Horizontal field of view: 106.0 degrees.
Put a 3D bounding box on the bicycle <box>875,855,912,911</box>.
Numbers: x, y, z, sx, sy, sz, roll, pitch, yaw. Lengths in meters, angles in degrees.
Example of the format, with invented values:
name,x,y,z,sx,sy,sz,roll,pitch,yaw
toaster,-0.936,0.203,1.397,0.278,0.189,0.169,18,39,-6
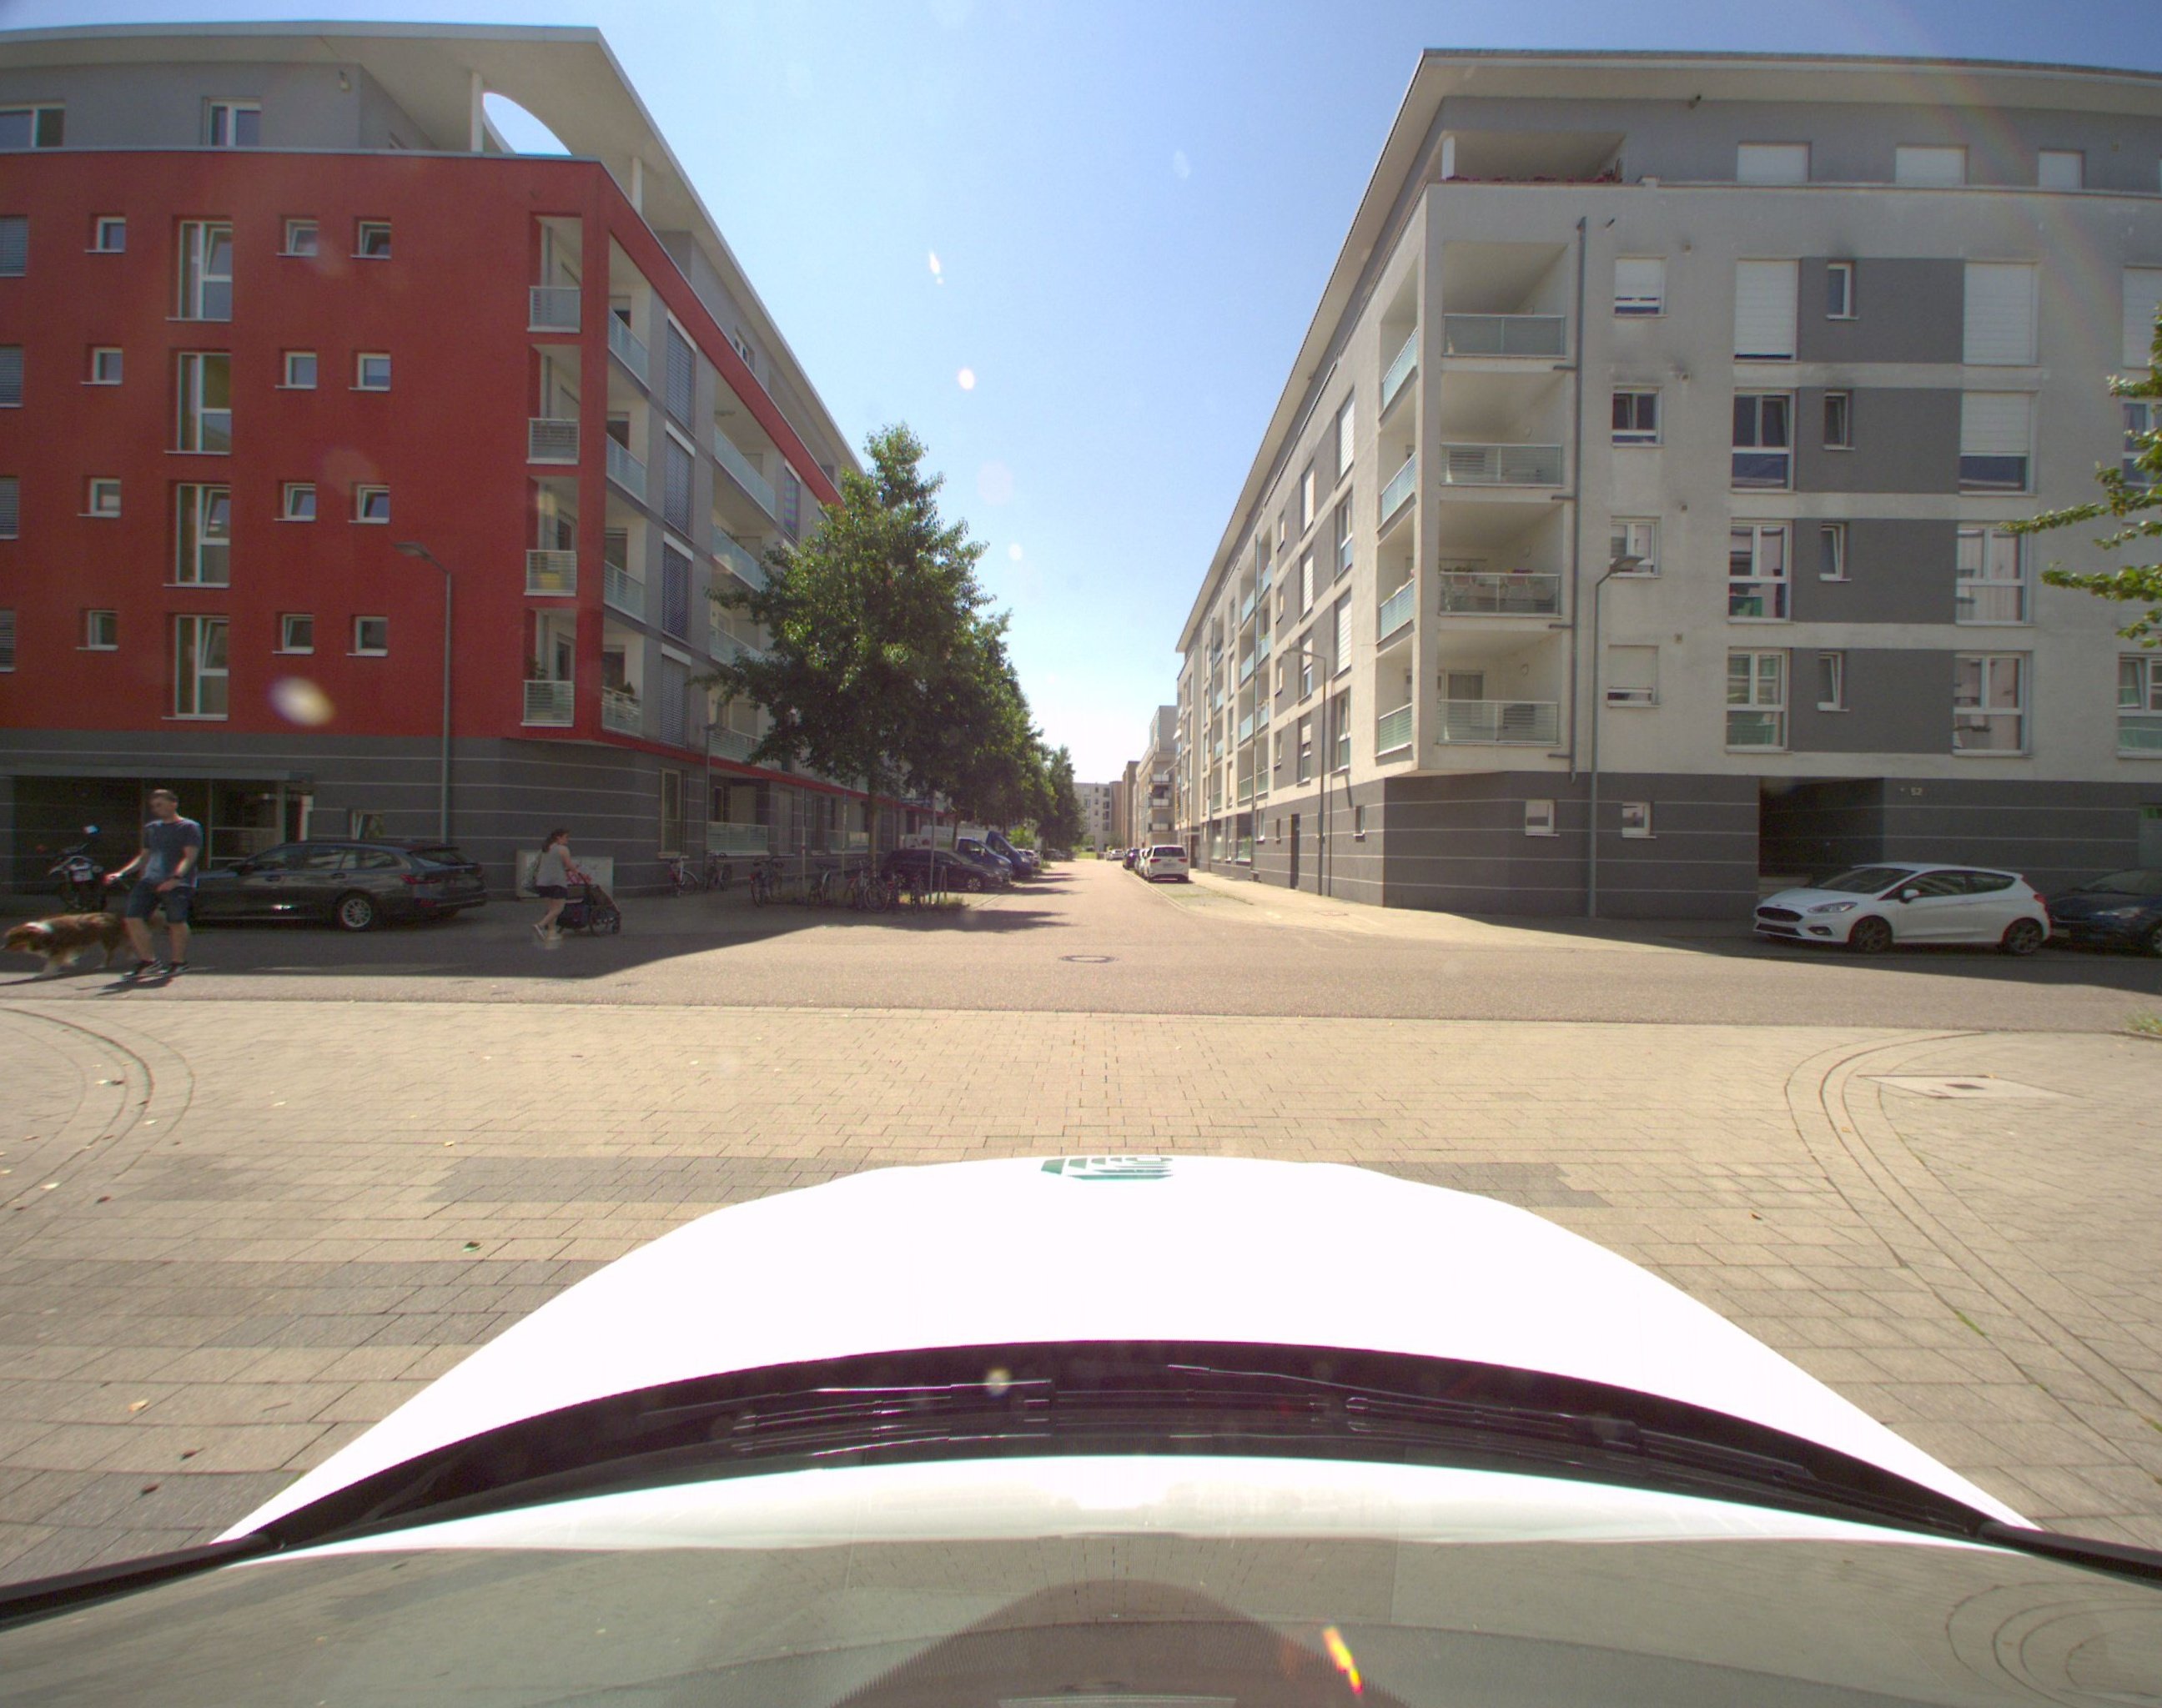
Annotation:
name,x,y,z,sx,sy,sz,roll,pitch,yaw
bicycle,-4.381,0.651,19.124,0.569,1.174,1.765,3,2,-6

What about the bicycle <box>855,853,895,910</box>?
name,x,y,z,sx,sy,sz,roll,pitch,yaw
bicycle,-4.813,0.616,19.132,0.432,1.204,1.700,2,2,2

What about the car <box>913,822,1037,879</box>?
name,x,y,z,sx,sy,sz,roll,pitch,yaw
car,-5.362,-0.179,41.866,6.003,2.816,2.605,0,0,0

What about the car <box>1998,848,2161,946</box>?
name,x,y,z,sx,sy,sz,roll,pitch,yaw
car,18.460,0.698,13.847,3.778,1.557,1.727,1,0,0

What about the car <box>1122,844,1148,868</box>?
name,x,y,z,sx,sy,sz,roll,pitch,yaw
car,3.771,0.138,56.514,1.749,1.552,4.005,1,1,4

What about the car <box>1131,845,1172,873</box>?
name,x,y,z,sx,sy,sz,roll,pitch,yaw
car,4.007,0.241,46.931,1.987,1.524,3.999,0,1,0

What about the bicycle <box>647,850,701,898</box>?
name,x,y,z,sx,sy,sz,roll,pitch,yaw
bicycle,-10.166,0.473,20.409,0.607,1.107,2.099,1,0,-10

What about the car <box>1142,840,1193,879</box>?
name,x,y,z,sx,sy,sz,roll,pitch,yaw
car,3.801,0.223,36.401,1.990,1.657,4.116,0,0,1

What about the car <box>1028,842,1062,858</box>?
name,x,y,z,sx,sy,sz,roll,pitch,yaw
car,-4.432,-0.509,100.710,3.965,2.013,2.004,1,0,7

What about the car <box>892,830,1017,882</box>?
name,x,y,z,sx,sy,sz,roll,pitch,yaw
car,-5.579,0.076,36.437,5.127,2.119,2.312,2,1,0

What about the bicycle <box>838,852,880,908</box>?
name,x,y,z,sx,sy,sz,roll,pitch,yaw
bicycle,-5.272,0.598,19.387,0.517,1.204,1.751,2,2,-1

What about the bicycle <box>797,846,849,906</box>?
name,x,y,z,sx,sy,sz,roll,pitch,yaw
bicycle,-6.038,0.487,19.182,0.591,1.331,1.813,0,1,2

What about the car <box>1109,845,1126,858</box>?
name,x,y,z,sx,sy,sz,roll,pitch,yaw
car,4.646,-0.320,105.068,1.987,1.675,3.999,1,1,0

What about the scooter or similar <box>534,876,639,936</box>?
name,x,y,z,sx,sy,sz,roll,pitch,yaw
scooter or similar,-8.033,0.834,13.285,1.064,0.888,1.019,1,0,2

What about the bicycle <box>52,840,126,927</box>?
name,x,y,z,sx,sy,sz,roll,pitch,yaw
bicycle,-16.991,0.455,13.937,2.320,1.378,0.687,1,0,37

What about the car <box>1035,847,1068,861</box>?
name,x,y,z,sx,sy,sz,roll,pitch,yaw
car,-3.734,-0.014,103.300,3.966,1.602,2.004,1,0,7

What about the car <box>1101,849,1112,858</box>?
name,x,y,z,sx,sy,sz,roll,pitch,yaw
car,4.563,-0.039,146.368,1.987,1.519,3.999,1,1,0

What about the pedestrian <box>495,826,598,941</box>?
name,x,y,z,sx,sy,sz,roll,pitch,yaw
pedestrian,-8.088,0.429,12.366,0.996,1.690,0.832,0,0,1

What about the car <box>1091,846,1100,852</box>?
name,x,y,z,sx,sy,sz,roll,pitch,yaw
car,3.426,-1.160,188.497,1.987,1.519,3.999,1,1,0

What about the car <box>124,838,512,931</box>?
name,x,y,z,sx,sy,sz,roll,pitch,yaw
car,-12.601,0.469,13.720,4.560,1.383,1.936,1,2,-2

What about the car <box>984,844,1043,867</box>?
name,x,y,z,sx,sy,sz,roll,pitch,yaw
car,-4.861,0.083,59.071,3.971,1.618,2.002,1,0,2

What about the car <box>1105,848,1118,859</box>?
name,x,y,z,sx,sy,sz,roll,pitch,yaw
car,4.933,-0.162,132.299,1.987,1.717,3.999,1,0,0

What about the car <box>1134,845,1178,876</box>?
name,x,y,z,sx,sy,sz,roll,pitch,yaw
car,3.814,0.285,42.103,1.986,1.524,4.001,0,1,1

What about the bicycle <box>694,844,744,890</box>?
name,x,y,z,sx,sy,sz,roll,pitch,yaw
bicycle,-10.203,0.344,23.036,0.549,1.240,1.925,0,0,0

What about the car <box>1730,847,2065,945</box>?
name,x,y,z,sx,sy,sz,roll,pitch,yaw
car,13.806,0.671,13.949,3.975,1.469,1.755,1,3,-1

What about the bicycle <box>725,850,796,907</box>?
name,x,y,z,sx,sy,sz,roll,pitch,yaw
bicycle,-7.440,0.530,19.022,0.687,1.170,2.224,3,1,1

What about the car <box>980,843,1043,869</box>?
name,x,y,z,sx,sy,sz,roll,pitch,yaw
car,-4.682,0.107,55.333,3.971,1.662,2.002,1,0,2

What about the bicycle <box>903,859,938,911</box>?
name,x,y,z,sx,sy,sz,roll,pitch,yaw
bicycle,-3.788,0.707,19.340,0.464,1.141,1.925,0,1,-1

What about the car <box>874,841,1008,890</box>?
name,x,y,z,sx,sy,sz,roll,pitch,yaw
car,-4.935,0.396,29.248,4.368,1.515,2.075,2,0,0

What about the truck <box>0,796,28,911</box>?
name,x,y,z,sx,sy,sz,roll,pitch,yaw
truck,-20.777,0.003,13.753,3.721,2.013,1.559,1,3,-2

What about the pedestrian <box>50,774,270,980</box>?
name,x,y,z,sx,sy,sz,roll,pitch,yaw
pedestrian,-9.592,0.218,8.547,1.004,2.013,1.130,0,0,4

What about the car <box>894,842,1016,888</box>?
name,x,y,z,sx,sy,sz,roll,pitch,yaw
car,-4.824,0.402,31.713,4.368,1.542,1.878,2,0,0
